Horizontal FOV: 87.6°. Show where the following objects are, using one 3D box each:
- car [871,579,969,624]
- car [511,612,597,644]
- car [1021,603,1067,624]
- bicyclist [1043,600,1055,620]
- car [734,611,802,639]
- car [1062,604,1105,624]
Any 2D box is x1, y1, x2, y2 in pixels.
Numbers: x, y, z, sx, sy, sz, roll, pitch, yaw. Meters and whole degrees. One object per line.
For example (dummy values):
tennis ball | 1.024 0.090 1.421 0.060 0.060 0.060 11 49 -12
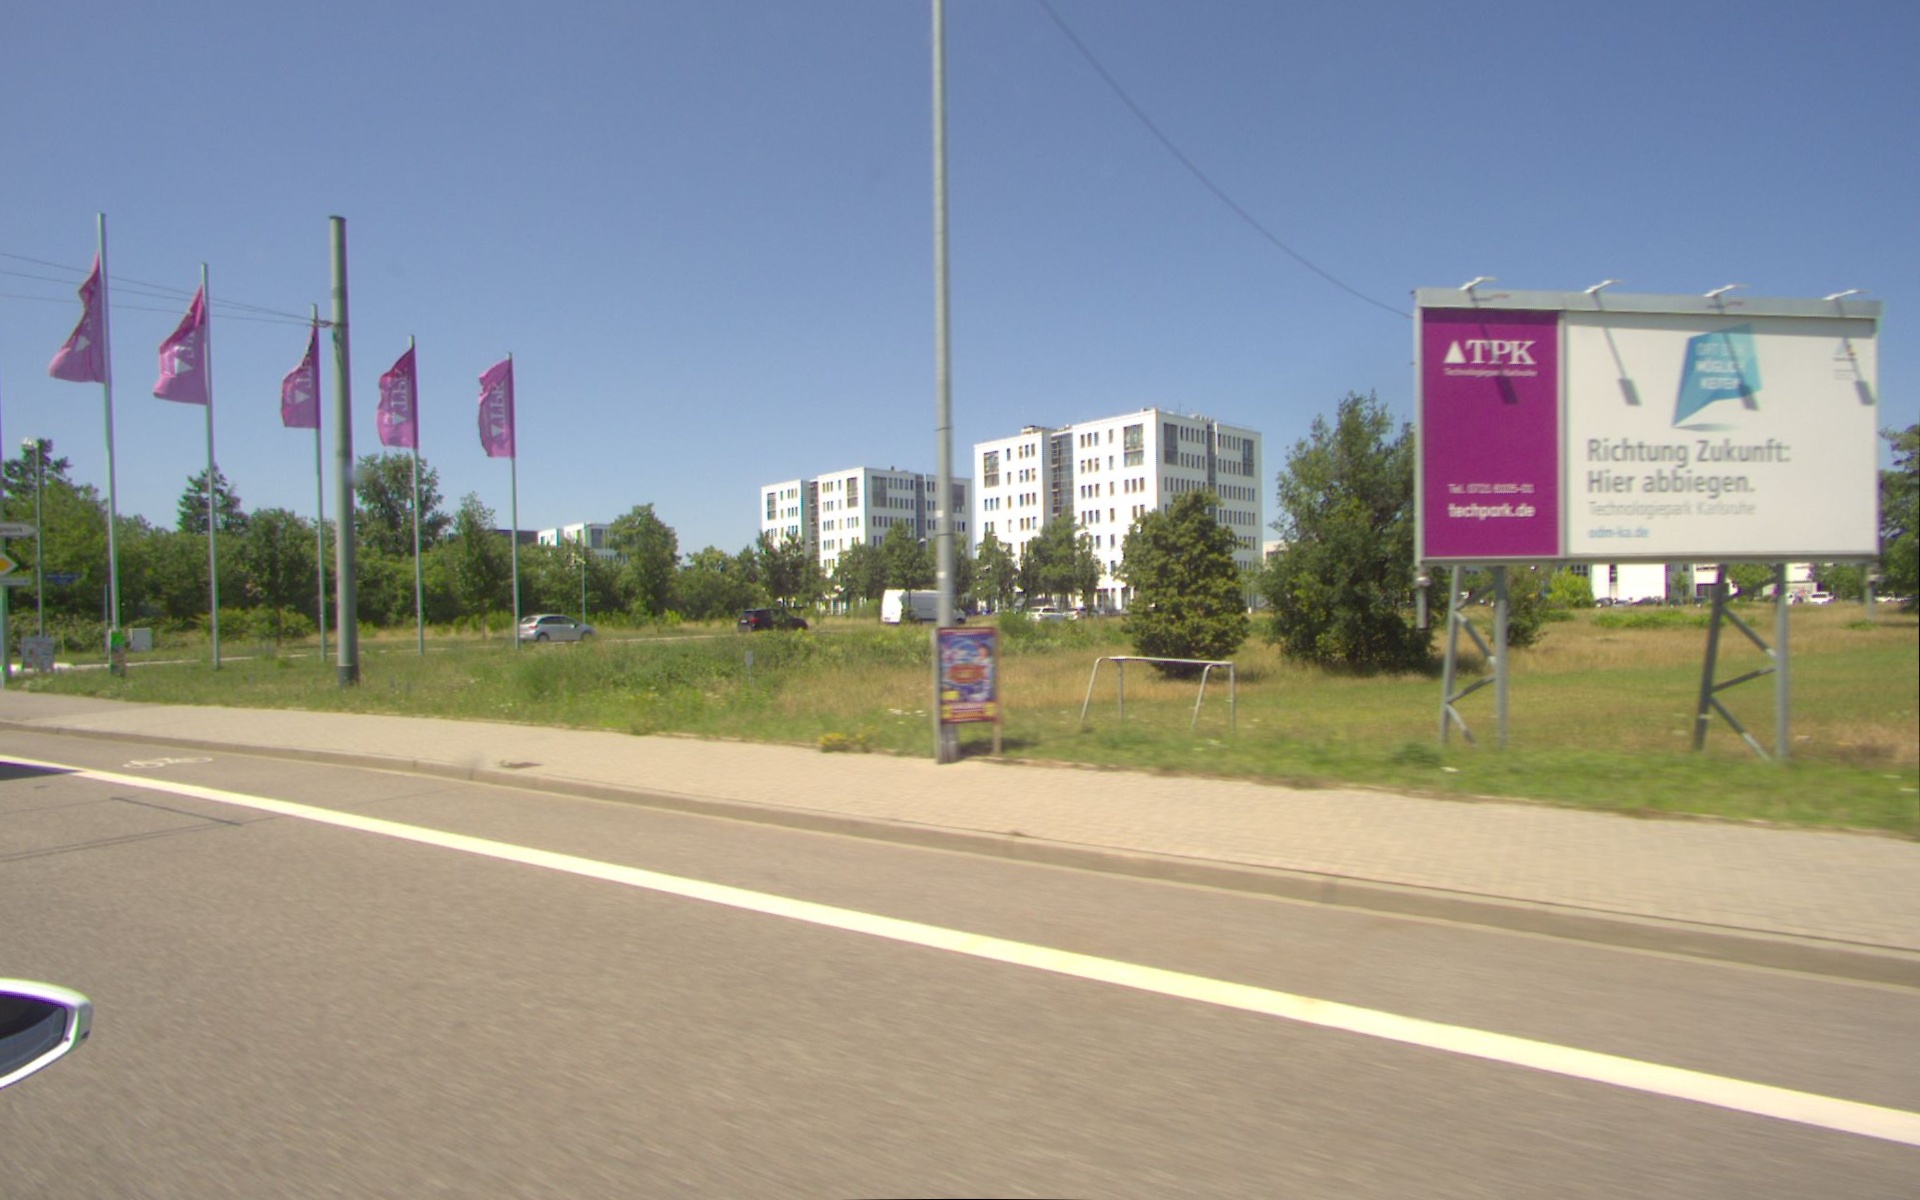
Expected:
car | -2.646 0.163 67.822 2.639 2.838 6.796 -2 -2 42
car | -20.274 1.416 50.104 1.687 1.552 3.598 -1 -2 42
car | 6.536 1.091 77.589 1.688 1.552 3.596 -1 -2 43
bicyclist | 7.207 0.794 81.116 0.602 1.646 0.686 3 3 43
car | -11.014 1.470 57.612 1.685 1.552 3.603 -1 -2 38
car | 10.032 1.152 81.312 1.688 1.552 3.596 -1 -2 43
